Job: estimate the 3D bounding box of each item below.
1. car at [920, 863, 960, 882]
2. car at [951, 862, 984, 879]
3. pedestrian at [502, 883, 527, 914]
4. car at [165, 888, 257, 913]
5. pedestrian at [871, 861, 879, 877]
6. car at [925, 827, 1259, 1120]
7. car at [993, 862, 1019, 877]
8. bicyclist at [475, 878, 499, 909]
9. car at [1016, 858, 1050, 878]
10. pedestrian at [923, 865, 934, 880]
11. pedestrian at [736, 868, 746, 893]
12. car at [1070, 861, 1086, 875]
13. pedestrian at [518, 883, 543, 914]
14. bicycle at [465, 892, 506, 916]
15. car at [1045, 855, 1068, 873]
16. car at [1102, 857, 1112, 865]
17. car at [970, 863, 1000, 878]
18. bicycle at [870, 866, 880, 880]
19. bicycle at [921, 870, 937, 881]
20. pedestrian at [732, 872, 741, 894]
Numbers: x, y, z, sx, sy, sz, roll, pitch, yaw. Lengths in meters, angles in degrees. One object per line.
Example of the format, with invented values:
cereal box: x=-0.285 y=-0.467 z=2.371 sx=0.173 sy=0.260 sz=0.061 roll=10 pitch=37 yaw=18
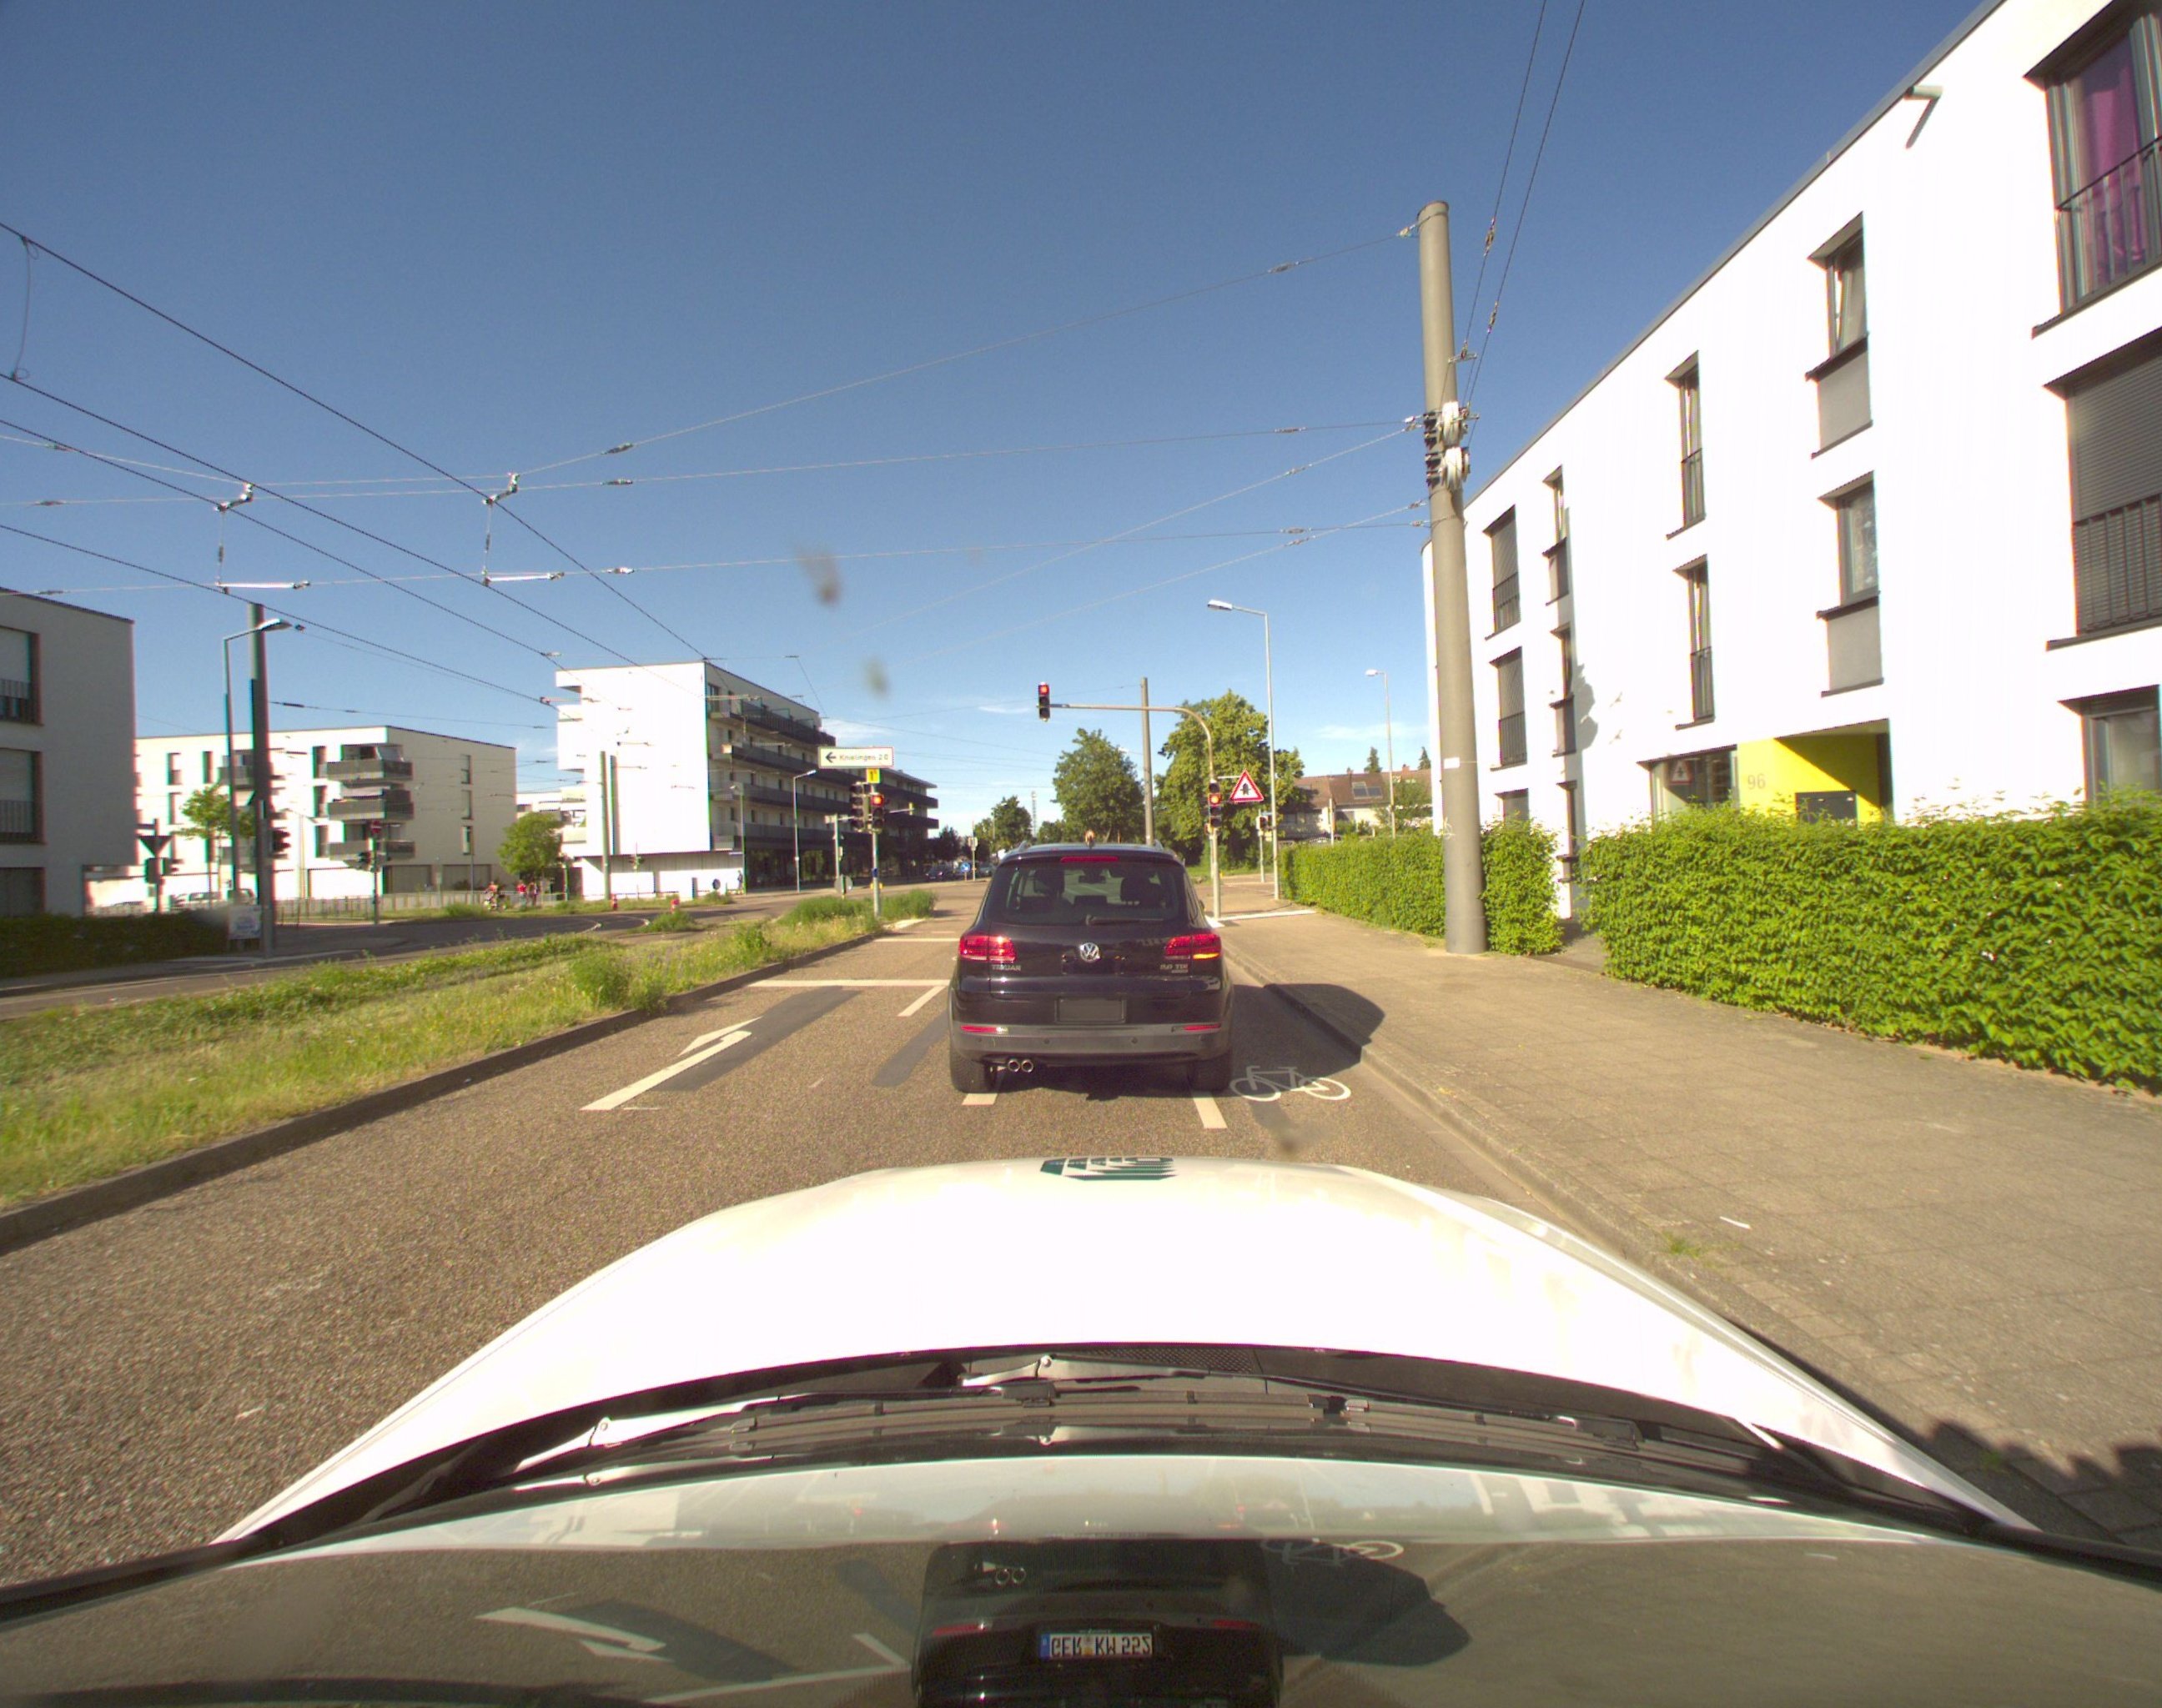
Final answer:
car: x=-12.417 y=1.593 z=71.942 sx=1.980 sy=1.574 sz=4.353 roll=-1 pitch=-1 yaw=11
car: x=-11.039 y=1.556 z=79.559 sx=1.981 sy=1.574 sz=4.350 roll=-1 pitch=-1 yaw=9
pedestrian: x=-29.565 y=2.314 z=42.499 sx=0.770 sy=1.605 sz=0.741 roll=0 pitch=-1 yaw=-5
car: x=-58.919 y=3.148 z=55.198 sx=4.305 sy=1.574 sz=2.002 roll=0 pitch=-1 yaw=4
pedestrian: x=-20.122 y=1.462 z=79.557 sx=0.641 sy=1.509 sz=0.595 roll=0 pitch=-1 yaw=-3
car: x=0.121 y=0.688 z=6.576 sx=1.862 sy=1.637 sz=4.001 roll=0 pitch=-1 yaw=2
car: x=-8.567 y=1.775 z=93.337 sx=1.981 sy=1.574 sz=4.350 roll=-1 pitch=-1 yaw=9
bicyclist: x=-31.000 y=2.054 z=42.511 sx=0.781 sy=1.614 sz=0.640 roll=0 pitch=-1 yaw=-5
car: x=-3.870 y=1.122 z=66.051 sx=1.852 sy=1.485 sz=4.121 roll=-3 pitch=0 yaw=9
pedestrian: x=-14.460 y=1.747 z=77.213 sx=0.707 sy=1.474 sz=0.956 roll=-1 pitch=-1 yaw=9
pedestrian: x=-24.059 y=1.884 z=57.605 sx=0.542 sy=1.744 sz=0.517 roll=0 pitch=-1 yaw=-4
car: x=-0.367 y=1.910 z=110.970 sx=1.986 sy=1.836 sz=4.002 roll=0 pitch=-1 yaw=2
pedestrian: x=-28.717 y=2.307 z=42.496 sx=0.770 sy=1.605 sz=0.741 roll=0 pitch=-1 yaw=-5
bicycle: x=-30.988 y=2.586 z=42.402 sx=0.818 sy=1.124 sz=1.858 roll=0 pitch=-1 yaw=-4
car: x=-2.457 y=1.049 z=83.572 sx=1.854 sy=1.720 sz=3.693 roll=-2 pitch=0 yaw=6
car: x=5.022 y=1.372 z=158.536 sx=1.987 sy=1.684 sz=4.000 roll=0 pitch=-1 yaw=0
car: x=-10.036 y=1.703 z=85.734 sx=1.981 sy=1.574 sz=4.350 roll=-1 pitch=-1 yaw=9
bicycle: x=-20.110 y=1.819 z=79.571 sx=0.629 sy=1.332 sz=1.909 roll=0 pitch=-1 yaw=-4
bicycle: x=-14.410 y=2.019 z=77.293 sx=0.766 sy=0.989 sz=2.438 roll=-1 pitch=-1 yaw=9
pedestrian: x=-24.063 y=2.030 z=56.941 sx=0.440 sy=1.503 sz=0.517 roll=0 pitch=-1 yaw=-4
